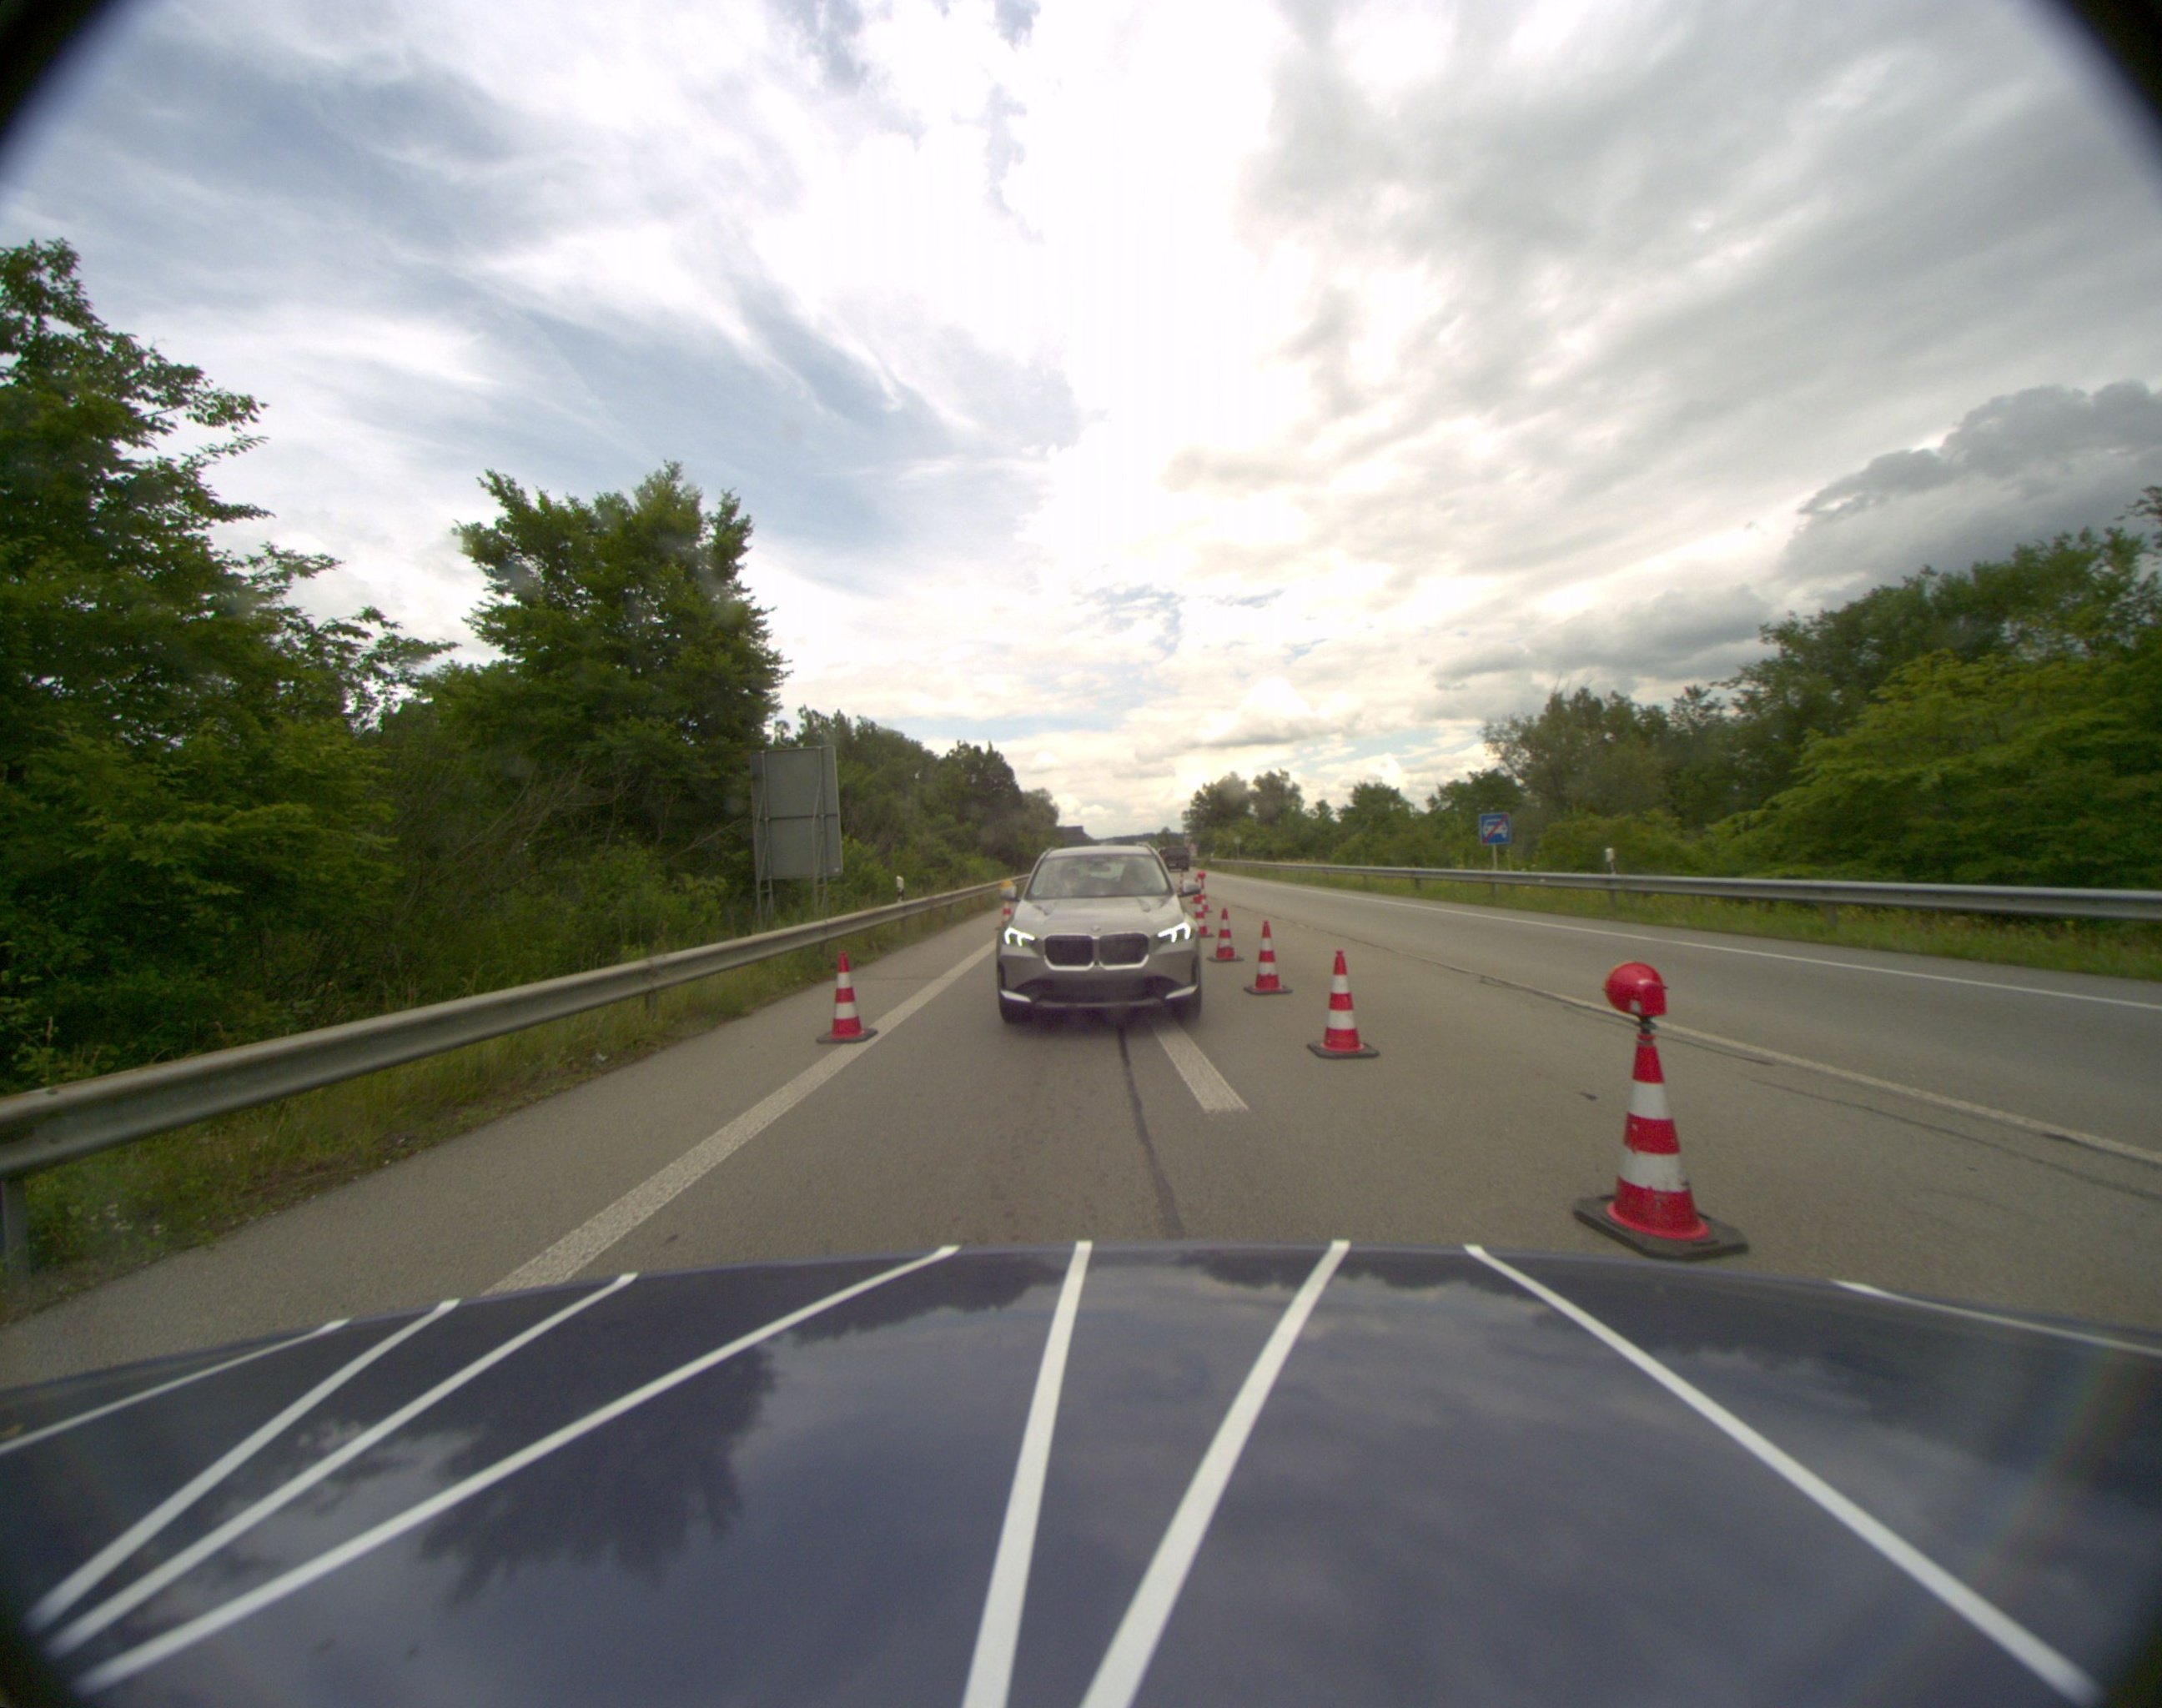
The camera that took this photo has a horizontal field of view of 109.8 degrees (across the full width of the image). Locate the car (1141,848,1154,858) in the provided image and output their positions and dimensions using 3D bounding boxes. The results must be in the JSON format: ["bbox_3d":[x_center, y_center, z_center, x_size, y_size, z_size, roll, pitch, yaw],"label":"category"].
[{"bbox_3d":[11.306,-0.239,129.320,1.929,1.597,4.533,-2,0,3],"label":"car"}]

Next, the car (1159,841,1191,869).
[{"bbox_3d":[7.248,0.058,59.151,2.034,1.976,5.316,-2,0,2],"label":"car"}]

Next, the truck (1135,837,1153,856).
[{"bbox_3d":[12.941,-1.583,155.860,3.113,3.682,9.544,-2,0,2],"label":"truck"}]

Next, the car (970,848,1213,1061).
[{"bbox_3d":[0.191,0.773,8.082,1.817,1.598,4.434,-2,0,3],"label":"car"}]

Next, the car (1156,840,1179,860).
[{"bbox_3d":[8.465,-0.370,74.703,1.971,1.873,4.533,-2,0,3],"label":"car"}]

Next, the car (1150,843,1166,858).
[{"bbox_3d":[10.080,-0.450,99.682,1.929,1.820,4.533,-2,0,3],"label":"car"}]
